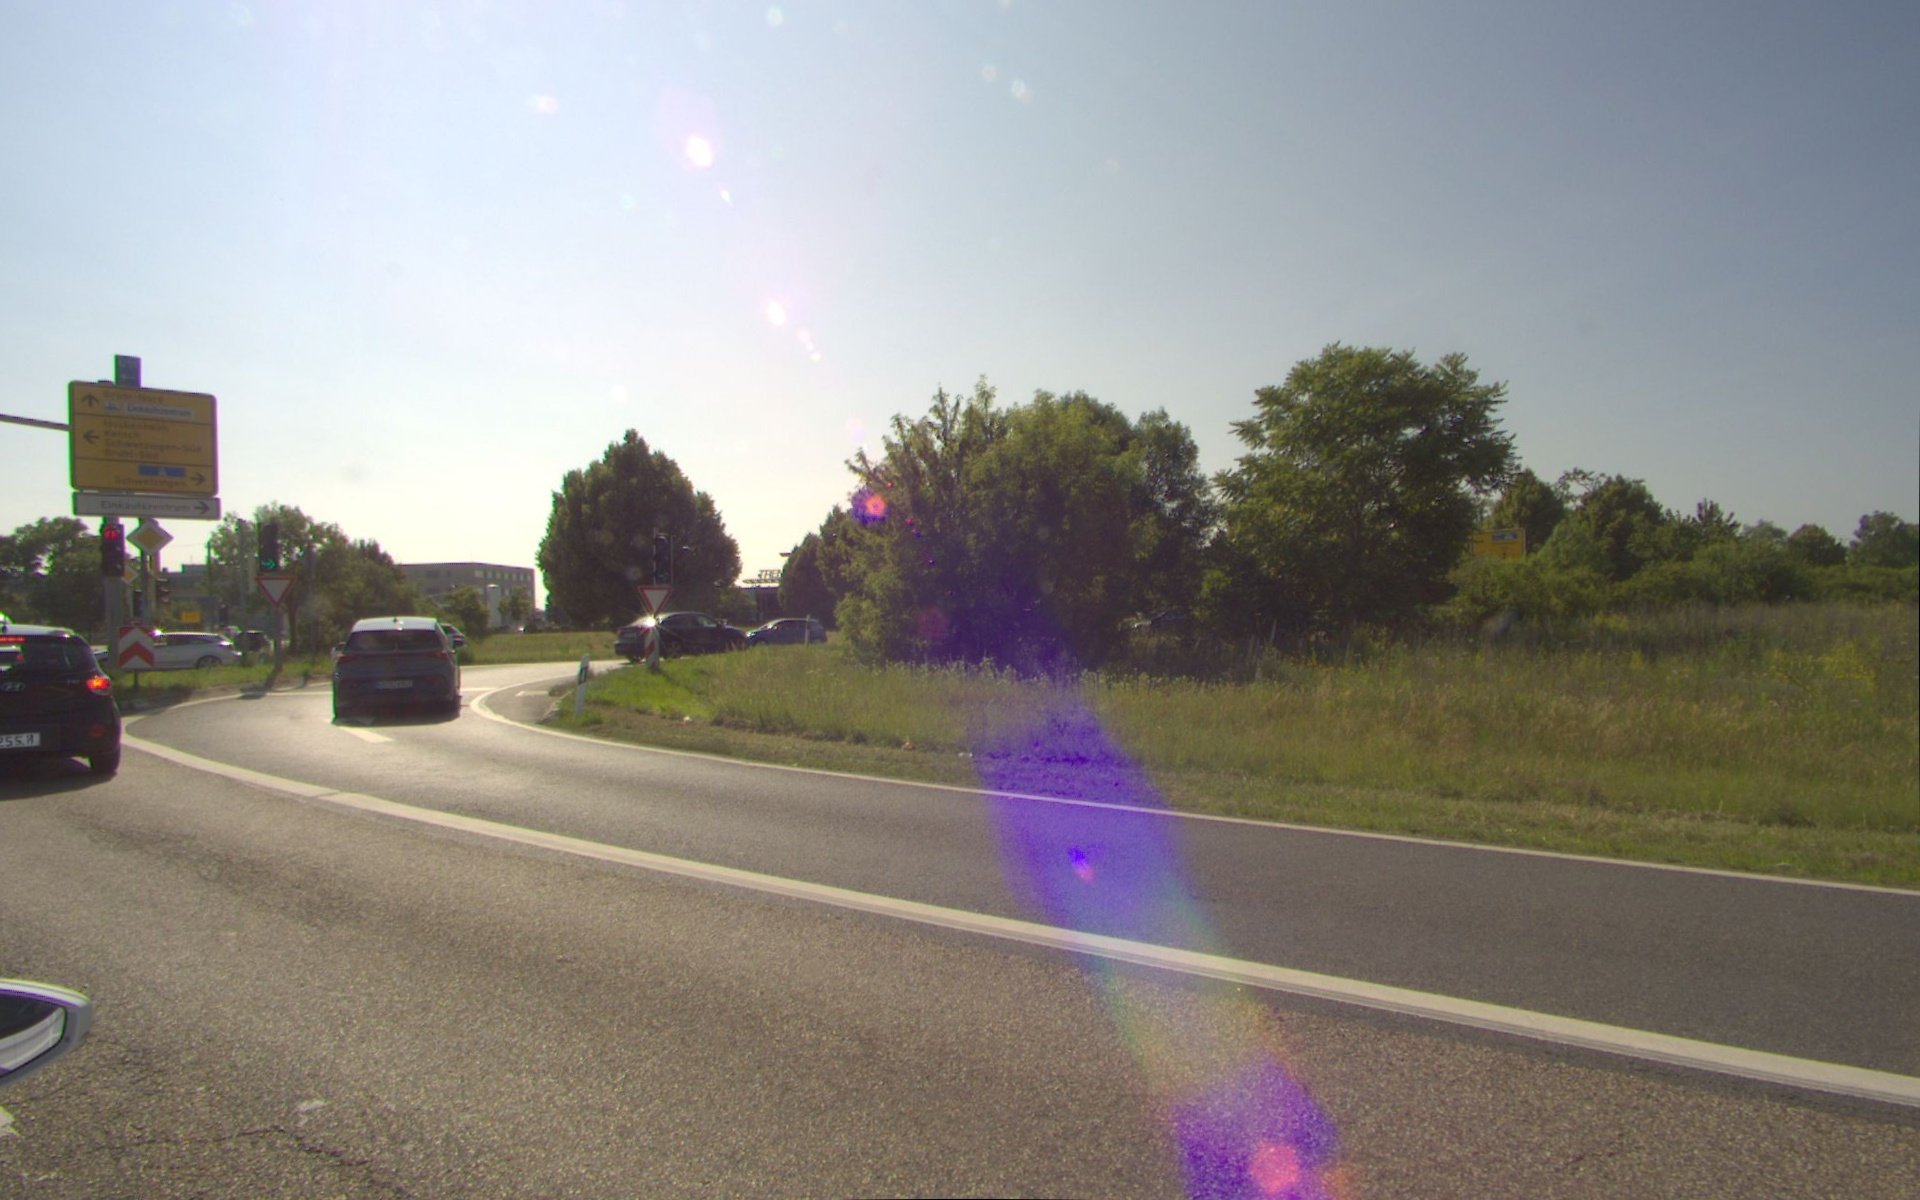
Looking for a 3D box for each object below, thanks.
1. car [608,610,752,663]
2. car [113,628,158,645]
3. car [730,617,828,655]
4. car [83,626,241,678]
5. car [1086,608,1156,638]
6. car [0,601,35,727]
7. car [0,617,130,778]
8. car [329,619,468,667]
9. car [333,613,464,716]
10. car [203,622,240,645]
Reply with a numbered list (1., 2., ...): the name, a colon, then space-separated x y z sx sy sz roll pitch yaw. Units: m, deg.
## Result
1. car: -8.109 1.016 29.306 1.624 1.404 3.975 0 0 35
2. car: -78.724 3.518 95.676 1.685 1.568 3.610 1 -2 -10
3. car: -7.848 1.544 43.537 3.824 1.539 1.799 0 0 -30
4. car: -26.096 1.661 32.919 3.826 1.539 1.798 0 -1 -31
5. car: 8.498 1.228 52.862 3.494 1.535 1.455 1 -2 -29
6. car: -14.690 0.893 14.385 3.706 1.698 1.626 -1 -2 40
7. car: -9.912 0.917 10.265 3.256 1.467 1.626 -1 -2 40
8. car: -18.500 1.396 33.187 3.850 1.484 1.717 0 -1 -25
9. car: -9.599 1.018 17.358 1.752 1.537 4.082 1 -1 -27
10. car: -59.864 2.745 81.252 1.695 1.842 3.764 1 -2 -26
